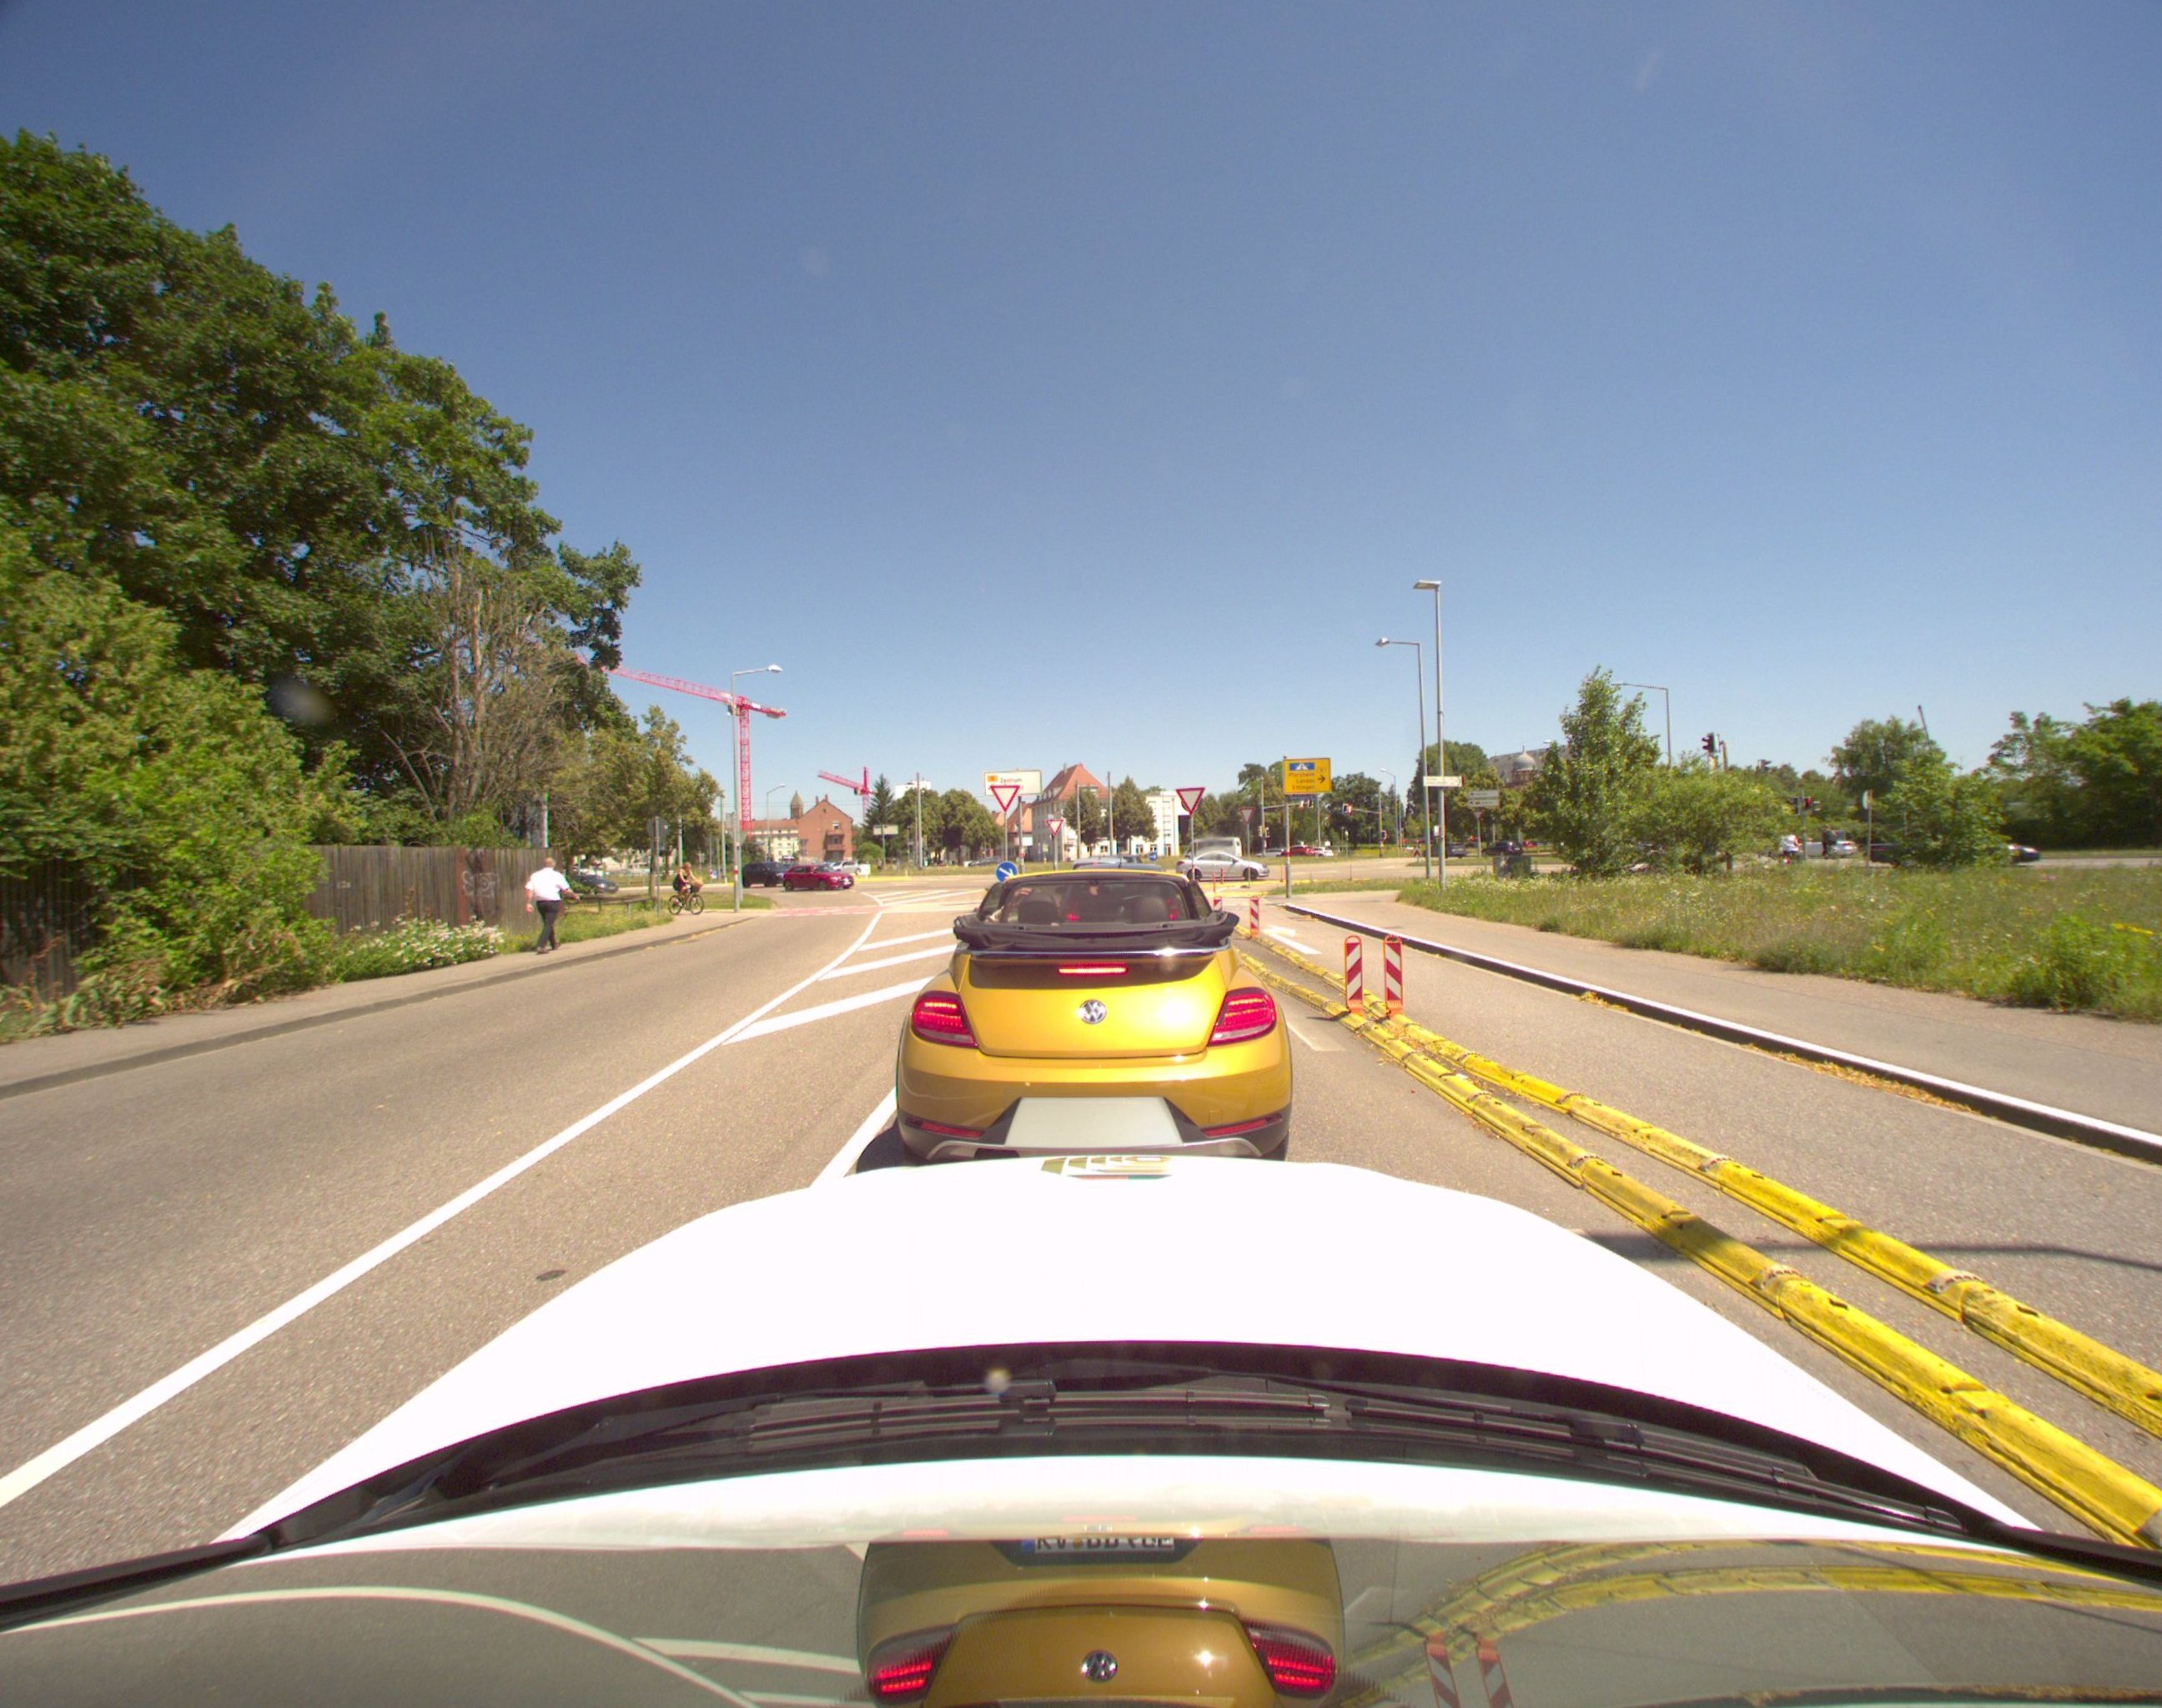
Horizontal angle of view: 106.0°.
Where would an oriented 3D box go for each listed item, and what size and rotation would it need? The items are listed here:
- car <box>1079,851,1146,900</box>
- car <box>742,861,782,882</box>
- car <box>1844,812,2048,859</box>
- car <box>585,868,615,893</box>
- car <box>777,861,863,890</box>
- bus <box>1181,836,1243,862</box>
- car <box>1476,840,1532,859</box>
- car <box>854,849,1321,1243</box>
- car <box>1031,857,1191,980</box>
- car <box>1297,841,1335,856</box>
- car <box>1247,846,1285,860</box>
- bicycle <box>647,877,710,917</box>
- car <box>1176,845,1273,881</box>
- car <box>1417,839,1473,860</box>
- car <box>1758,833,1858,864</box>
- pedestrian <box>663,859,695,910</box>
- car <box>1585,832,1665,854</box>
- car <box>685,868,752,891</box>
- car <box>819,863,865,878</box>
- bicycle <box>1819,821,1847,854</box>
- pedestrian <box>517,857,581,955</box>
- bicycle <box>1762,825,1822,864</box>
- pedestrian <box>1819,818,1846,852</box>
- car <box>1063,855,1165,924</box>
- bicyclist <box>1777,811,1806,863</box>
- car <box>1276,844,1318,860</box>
[{"bbox_3d":[1.051,0.671,27.740,2.057,1.481,4.545,-2,0,2],"label":"car"},{"bbox_3d":[-25.009,1.355,63.959,1.773,1.527,3.866,-2,0,-5],"label":"car"},{"bbox_3d":[34.412,-0.672,32.658,5.261,1.736,2.013,-1,-1,32],"label":"car"},{"bbox_3d":[-33.714,1.844,57.086,1.733,1.552,4.301,-2,1,-31],"label":"car"},{"bbox_3d":[-14.287,1.150,44.553,4.363,1.527,2.012,-1,-1,29],"label":"car"},{"bbox_3d":[16.289,-0.610,101.476,7.185,3.172,2.274,-1,-1,27],"label":"bus"},{"bbox_3d":[39.498,-0.413,76.138,1.851,1.736,4.409,0,-1,-24],"label":"car"},{"bbox_3d":[0.087,0.744,5.214,1.758,1.481,4.259,0,-1,2],"label":"car"},{"bbox_3d":[0.423,0.772,11.790,1.844,1.366,4.260,-2,0,2],"label":"car"},{"bbox_3d":[27.315,-0.618,94.694,3.948,1.772,1.798,-1,-1,39],"label":"car"},{"bbox_3d":[23.700,-0.064,104.464,4.387,1.736,1.860,-1,-1,37],"label":"car"},{"bbox_3d":[-13.425,1.424,27.170,1.830,1.231,0.615,-3,-1,12],"label":"bicycle"},{"bbox_3d":[6.778,0.410,38.760,4.380,1.527,2.005,-2,0,8],"label":"car"},{"bbox_3d":[32.162,-0.391,72.037,1.851,1.736,4.409,0,-1,-24],"label":"car"},{"bbox_3d":[43.363,-0.296,48.632,4.389,1.736,1.860,-1,-1,43],"label":"car"},{"bbox_3d":[-13.412,1.002,27.172,0.728,1.691,0.577,-1,-1,11],"label":"pedestrian"},{"bbox_3d":[36.789,-0.734,55.177,1.754,1.371,4.298,0,-1,-22],"label":"car"},{"bbox_3d":[-25.404,1.767,57.050,4.363,1.595,2.012,-1,-1,28],"label":"car"},{"bbox_3d":[-23.236,1.562,79.237,1.711,1.402,4.297,-1,-1,29],"label":"car"},{"bbox_3d":[37.993,-0.829,41.155,0.972,1.597,2.900,-1,-1,43],"label":"bicycle"},{"bbox_3d":[-10.041,0.948,15.398,0.635,1.786,0.967,0,-1,-6],"label":"pedestrian"},{"bbox_3d":[25.800,-0.330,29.536,2.902,1.353,0.635,0,-1,-28],"label":"bicycle"},{"bbox_3d":[37.894,-0.957,41.046,0.959,1.660,0.892,-1,-1,44],"label":"pedestrian"},{"bbox_3d":[0.738,0.743,18.678,2.057,1.382,4.259,0,0,2],"label":"car"},{"bbox_3d":[25.749,-0.600,29.512,0.573,1.841,0.603,0,-1,-29],"label":"bicyclist"},{"bbox_3d":[24.315,-0.172,91.741,1.855,1.736,4.398,0,-1,-33],"label":"car"}]
